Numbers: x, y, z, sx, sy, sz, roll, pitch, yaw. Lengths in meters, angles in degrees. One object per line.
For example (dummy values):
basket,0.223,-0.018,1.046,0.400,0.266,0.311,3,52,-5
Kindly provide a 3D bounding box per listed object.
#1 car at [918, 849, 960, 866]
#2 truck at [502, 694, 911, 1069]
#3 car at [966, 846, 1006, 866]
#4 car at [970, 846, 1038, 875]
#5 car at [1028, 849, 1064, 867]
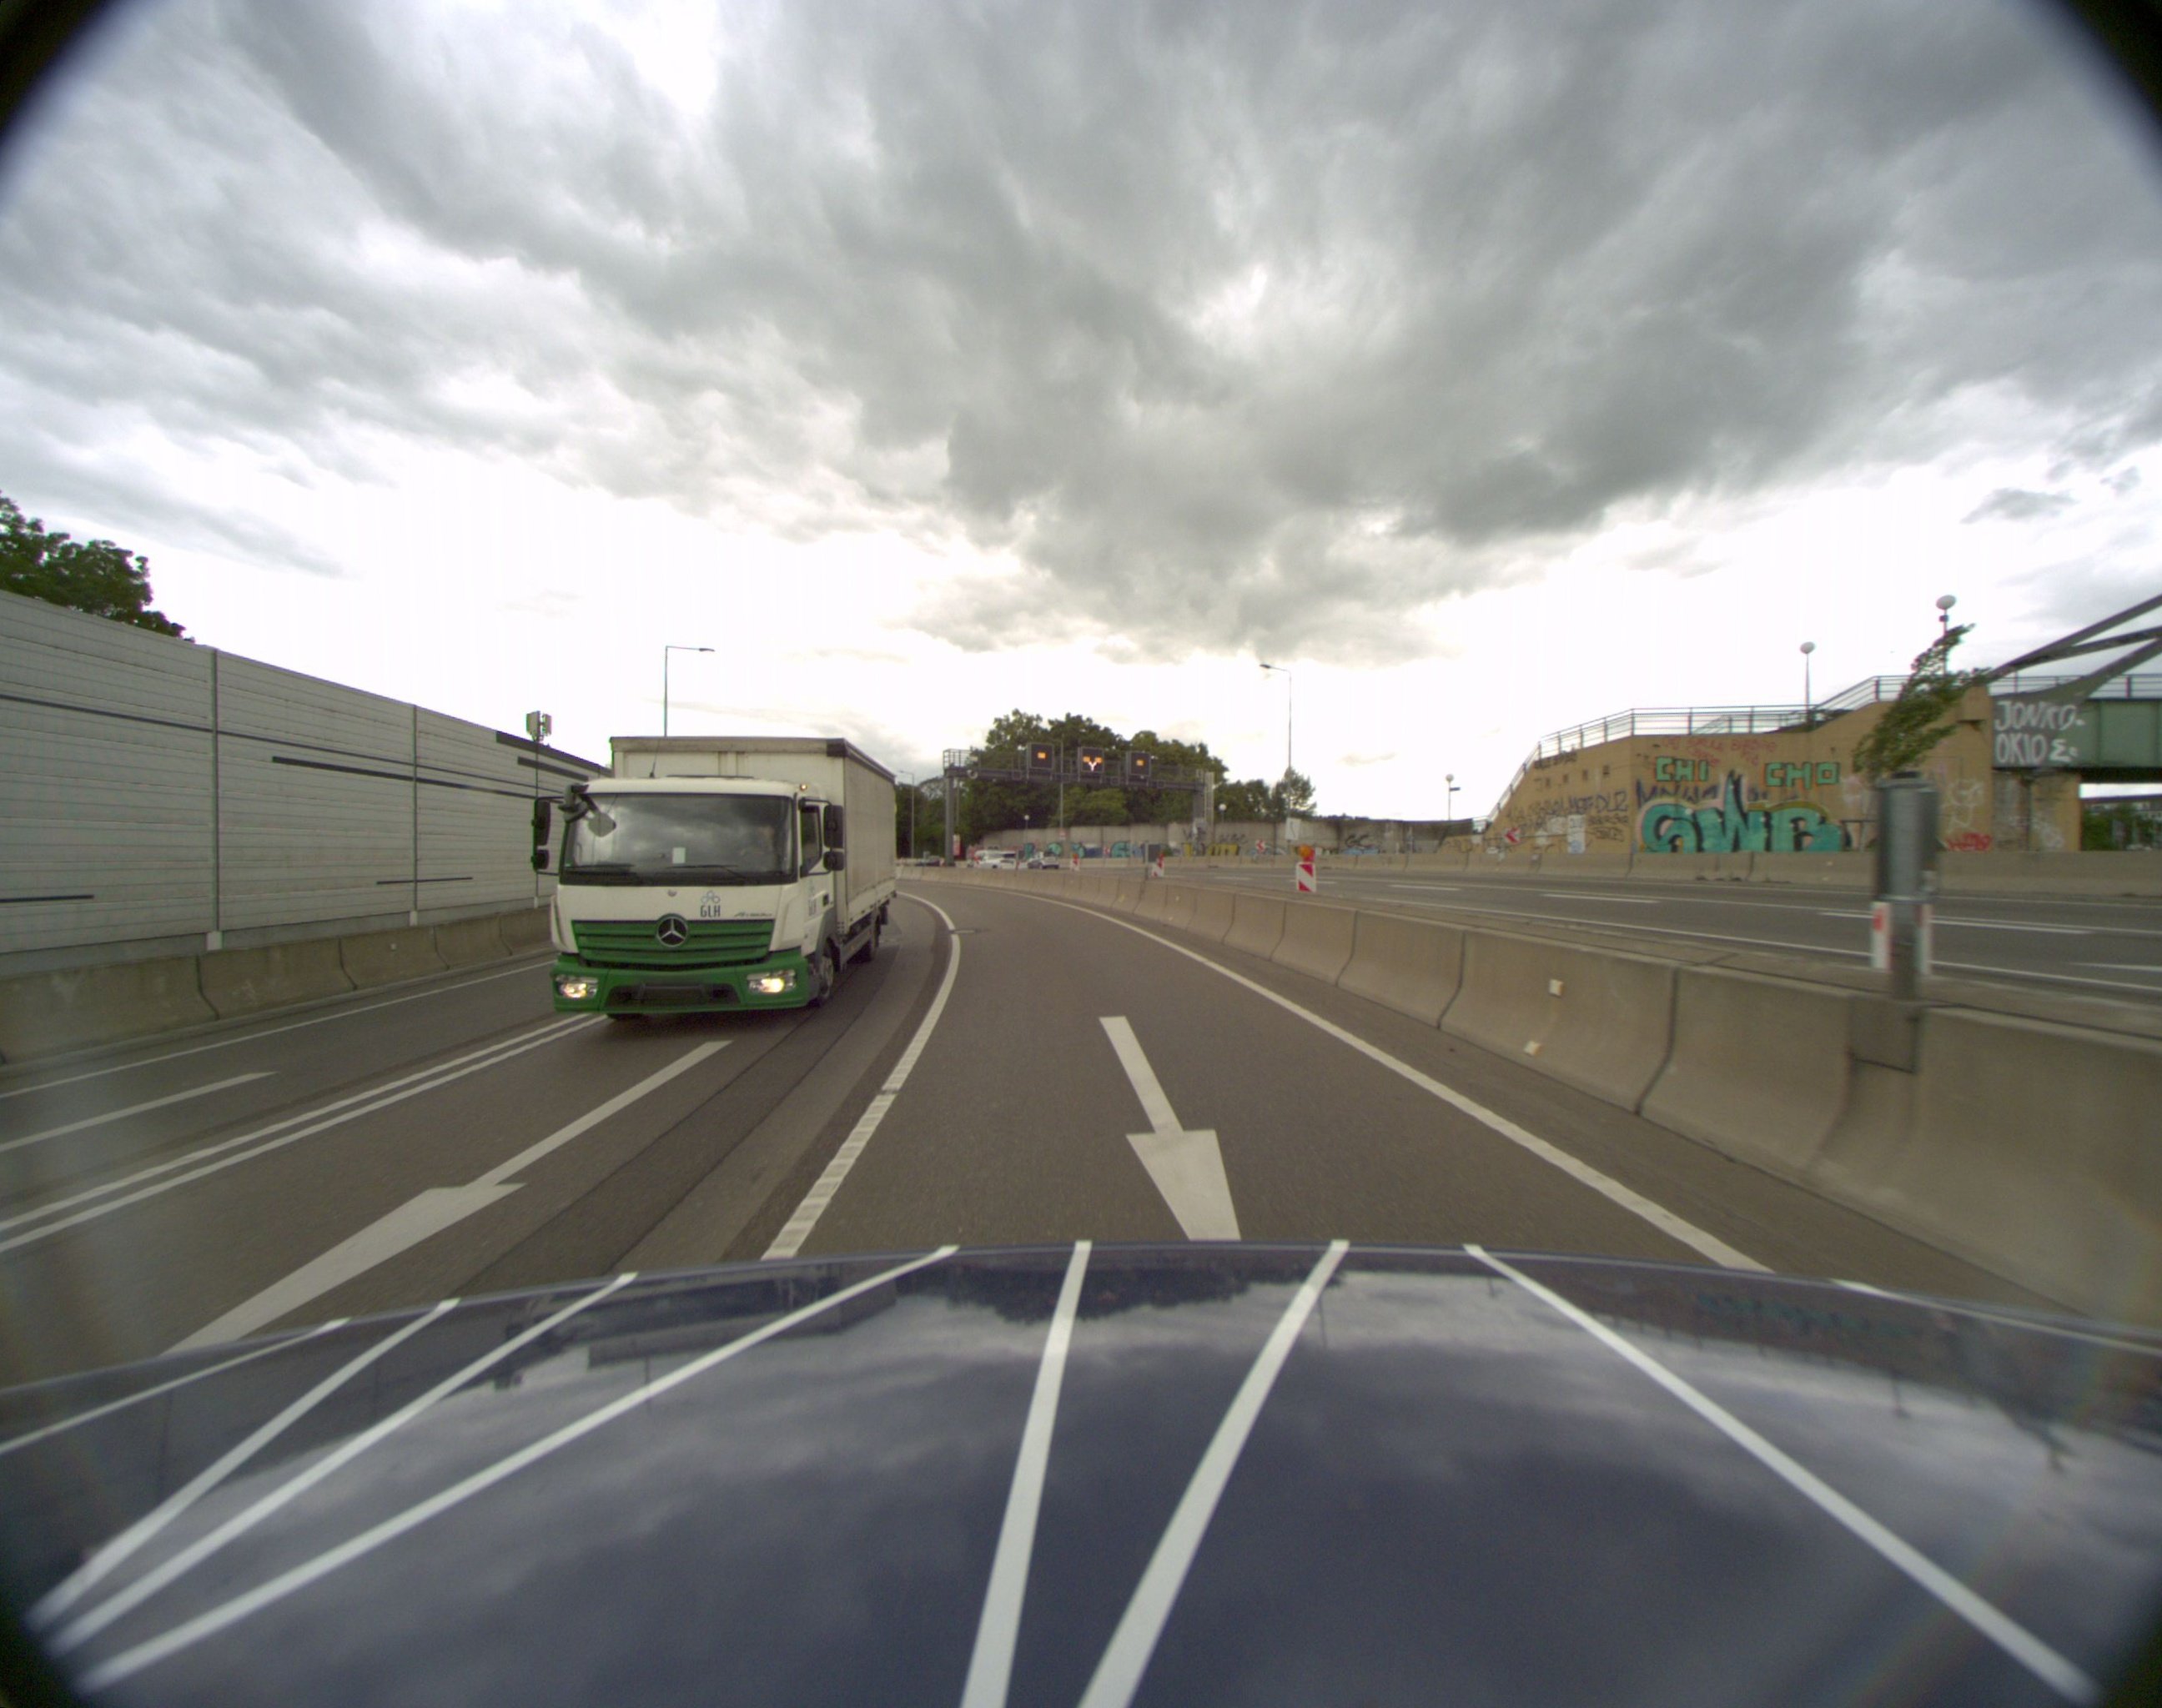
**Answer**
car,-13.655,0.342,72.952,2.004,1.480,4.575,-2,1,-38
truck,-4.131,0.206,10.493,2.638,3.220,7.410,-3,1,-8
car,-8.267,0.185,65.824,2.003,1.676,4.250,-2,1,-28
car,-4.698,0.396,45.664,2.107,1.543,5.131,-2,0,-30
car,-2.976,0.303,64.638,1.634,1.467,2.932,-2,1,-39
